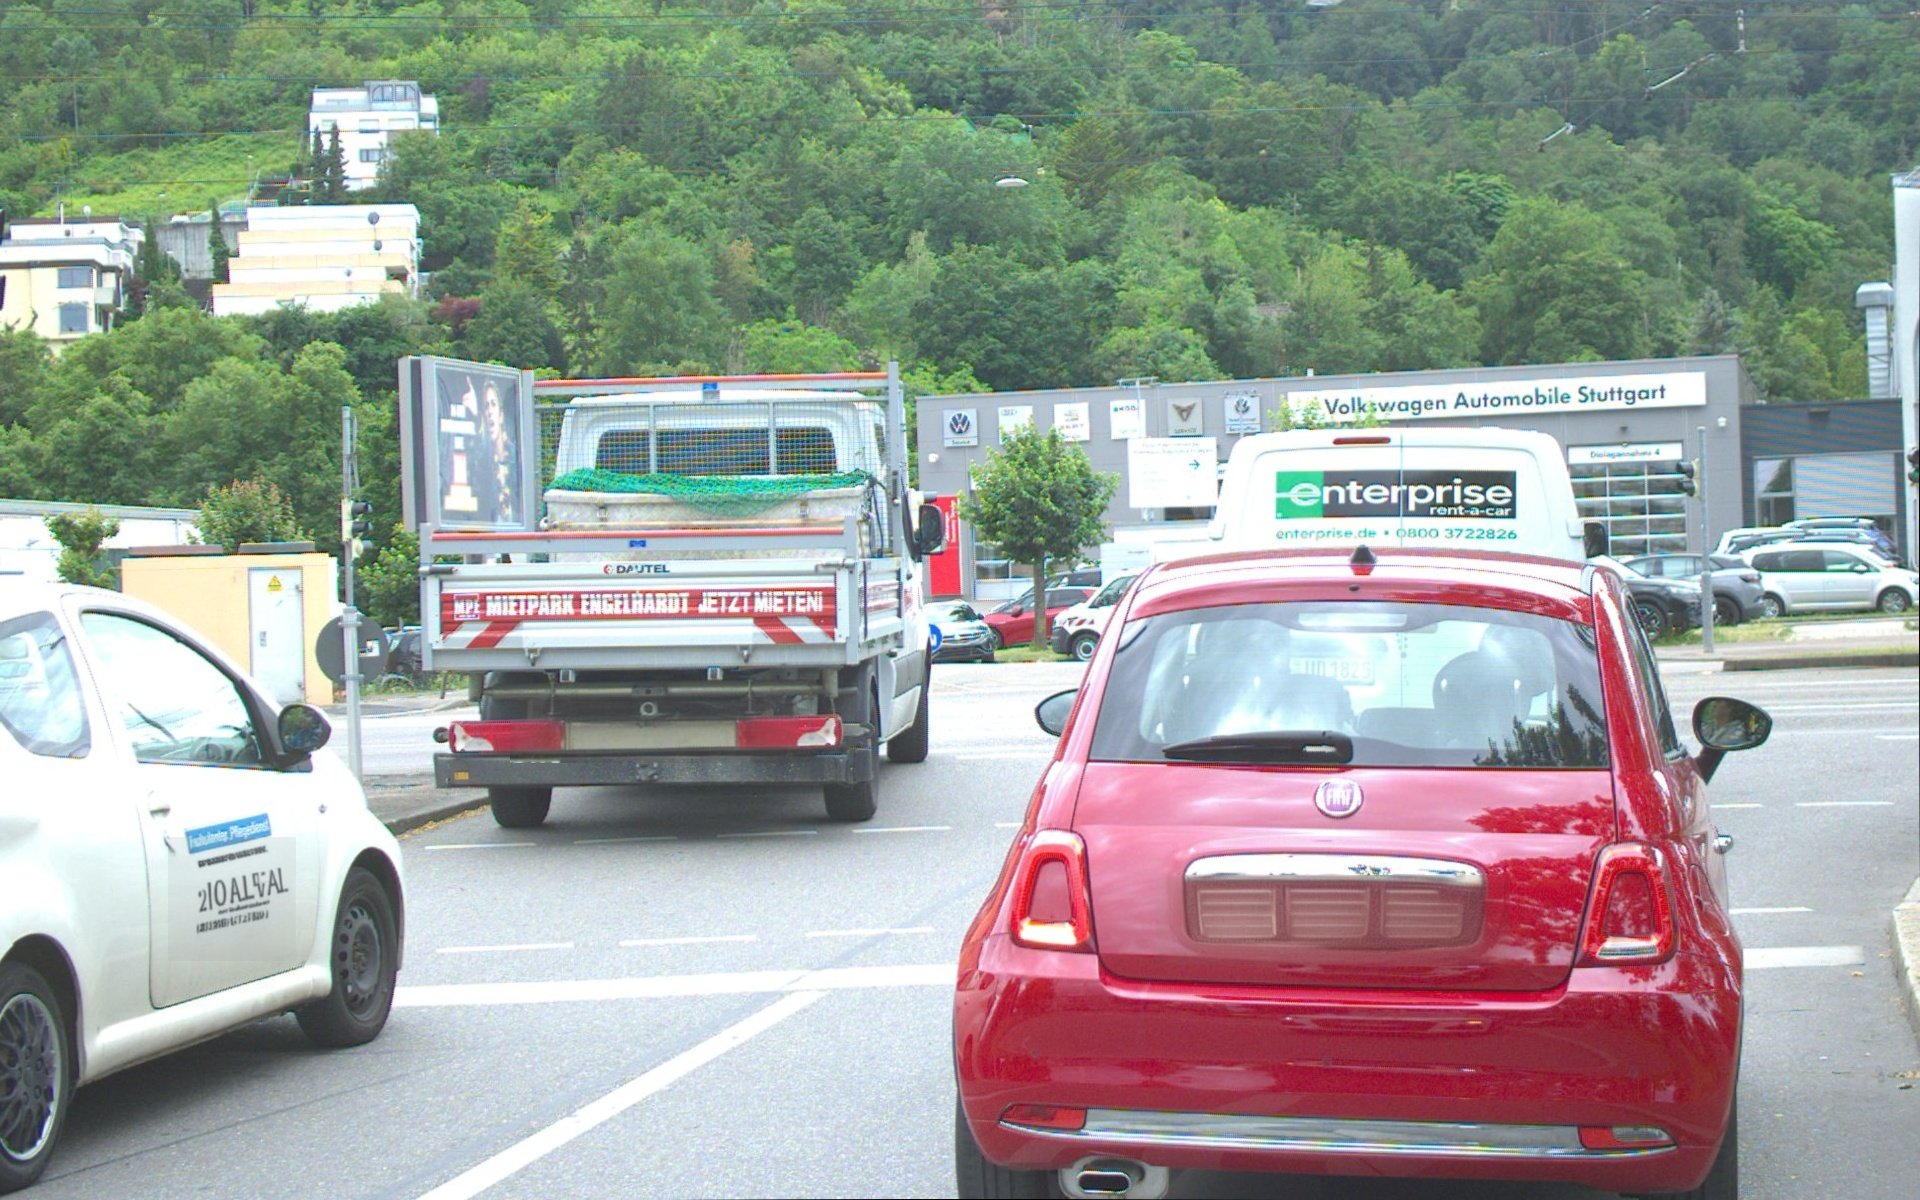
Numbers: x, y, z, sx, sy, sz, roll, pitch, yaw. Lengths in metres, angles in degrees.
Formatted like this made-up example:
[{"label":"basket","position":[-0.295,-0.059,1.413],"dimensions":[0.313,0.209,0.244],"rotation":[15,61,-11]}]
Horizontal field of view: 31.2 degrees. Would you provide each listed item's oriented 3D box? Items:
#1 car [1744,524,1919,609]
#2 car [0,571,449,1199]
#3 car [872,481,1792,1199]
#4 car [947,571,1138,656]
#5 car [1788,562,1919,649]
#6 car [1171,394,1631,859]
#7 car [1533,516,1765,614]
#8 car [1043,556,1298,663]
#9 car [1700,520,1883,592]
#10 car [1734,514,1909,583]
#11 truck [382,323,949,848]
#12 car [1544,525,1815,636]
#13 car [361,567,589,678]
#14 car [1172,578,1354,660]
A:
[{"label":"car","position":[19.544,-0.713,75.240],"dimensions":[4.497,1.723,1.999],"rotation":[2,-1,10]},{"label":"car","position":[-2.754,0.686,9.449],"dimensions":[1.594,1.415,3.372],"rotation":[-3,0,10]},{"label":"car","position":[1.152,0.543,8.519],"dimensions":[1.699,1.520,3.997],"rotation":[2,1,14]},{"label":"car","position":[2.103,0.348,86.674],"dimensions":[4.498,1.990,1.999],"rotation":[2,-1,10]},{"label":"car","position":[22.339,0.161,82.818],"dimensions":[4.498,1.990,1.999],"rotation":[2,-1,10]},{"label":"car","position":[2.295,0.036,17.793],"dimensions":[1.999,2.033,4.830],"rotation":[1,2,8]},{"label":"car","position":[13.020,-0.656,65.128],"dimensions":[3.987,1.700,2.000],"rotation":[2,-1,2]},{"label":"car","position":[4.471,0.230,72.880],"dimensions":[5.005,2.007,1.998],"rotation":[-3,-2,16]},{"label":"car","position":[21.796,-1.157,90.279],"dimensions":[4.497,1.723,1.999],"rotation":[2,-1,10]},{"label":"car","position":[23.604,-1.421,94.352],"dimensions":[4.497,1.723,1.999],"rotation":[2,-1,10]},{"label":"truck","position":[-1.405,-0.163,19.072],"dimensions":[2.314,2.413,5.654],"rotation":[-2,2,3]},{"label":"car","position":[11.795,-0.345,56.331],"dimensions":[3.992,1.634,1.998],"rotation":[1,4,24]},{"label":"car","position":[-10.546,0.497,74.779],"dimensions":[4.494,2.235,2.000],"rotation":[2,-1,-23]},{"label":"car","position":[7.111,0.446,80.624],"dimensions":[3.989,1.788,1.852],"rotation":[2,-1,13]}]
